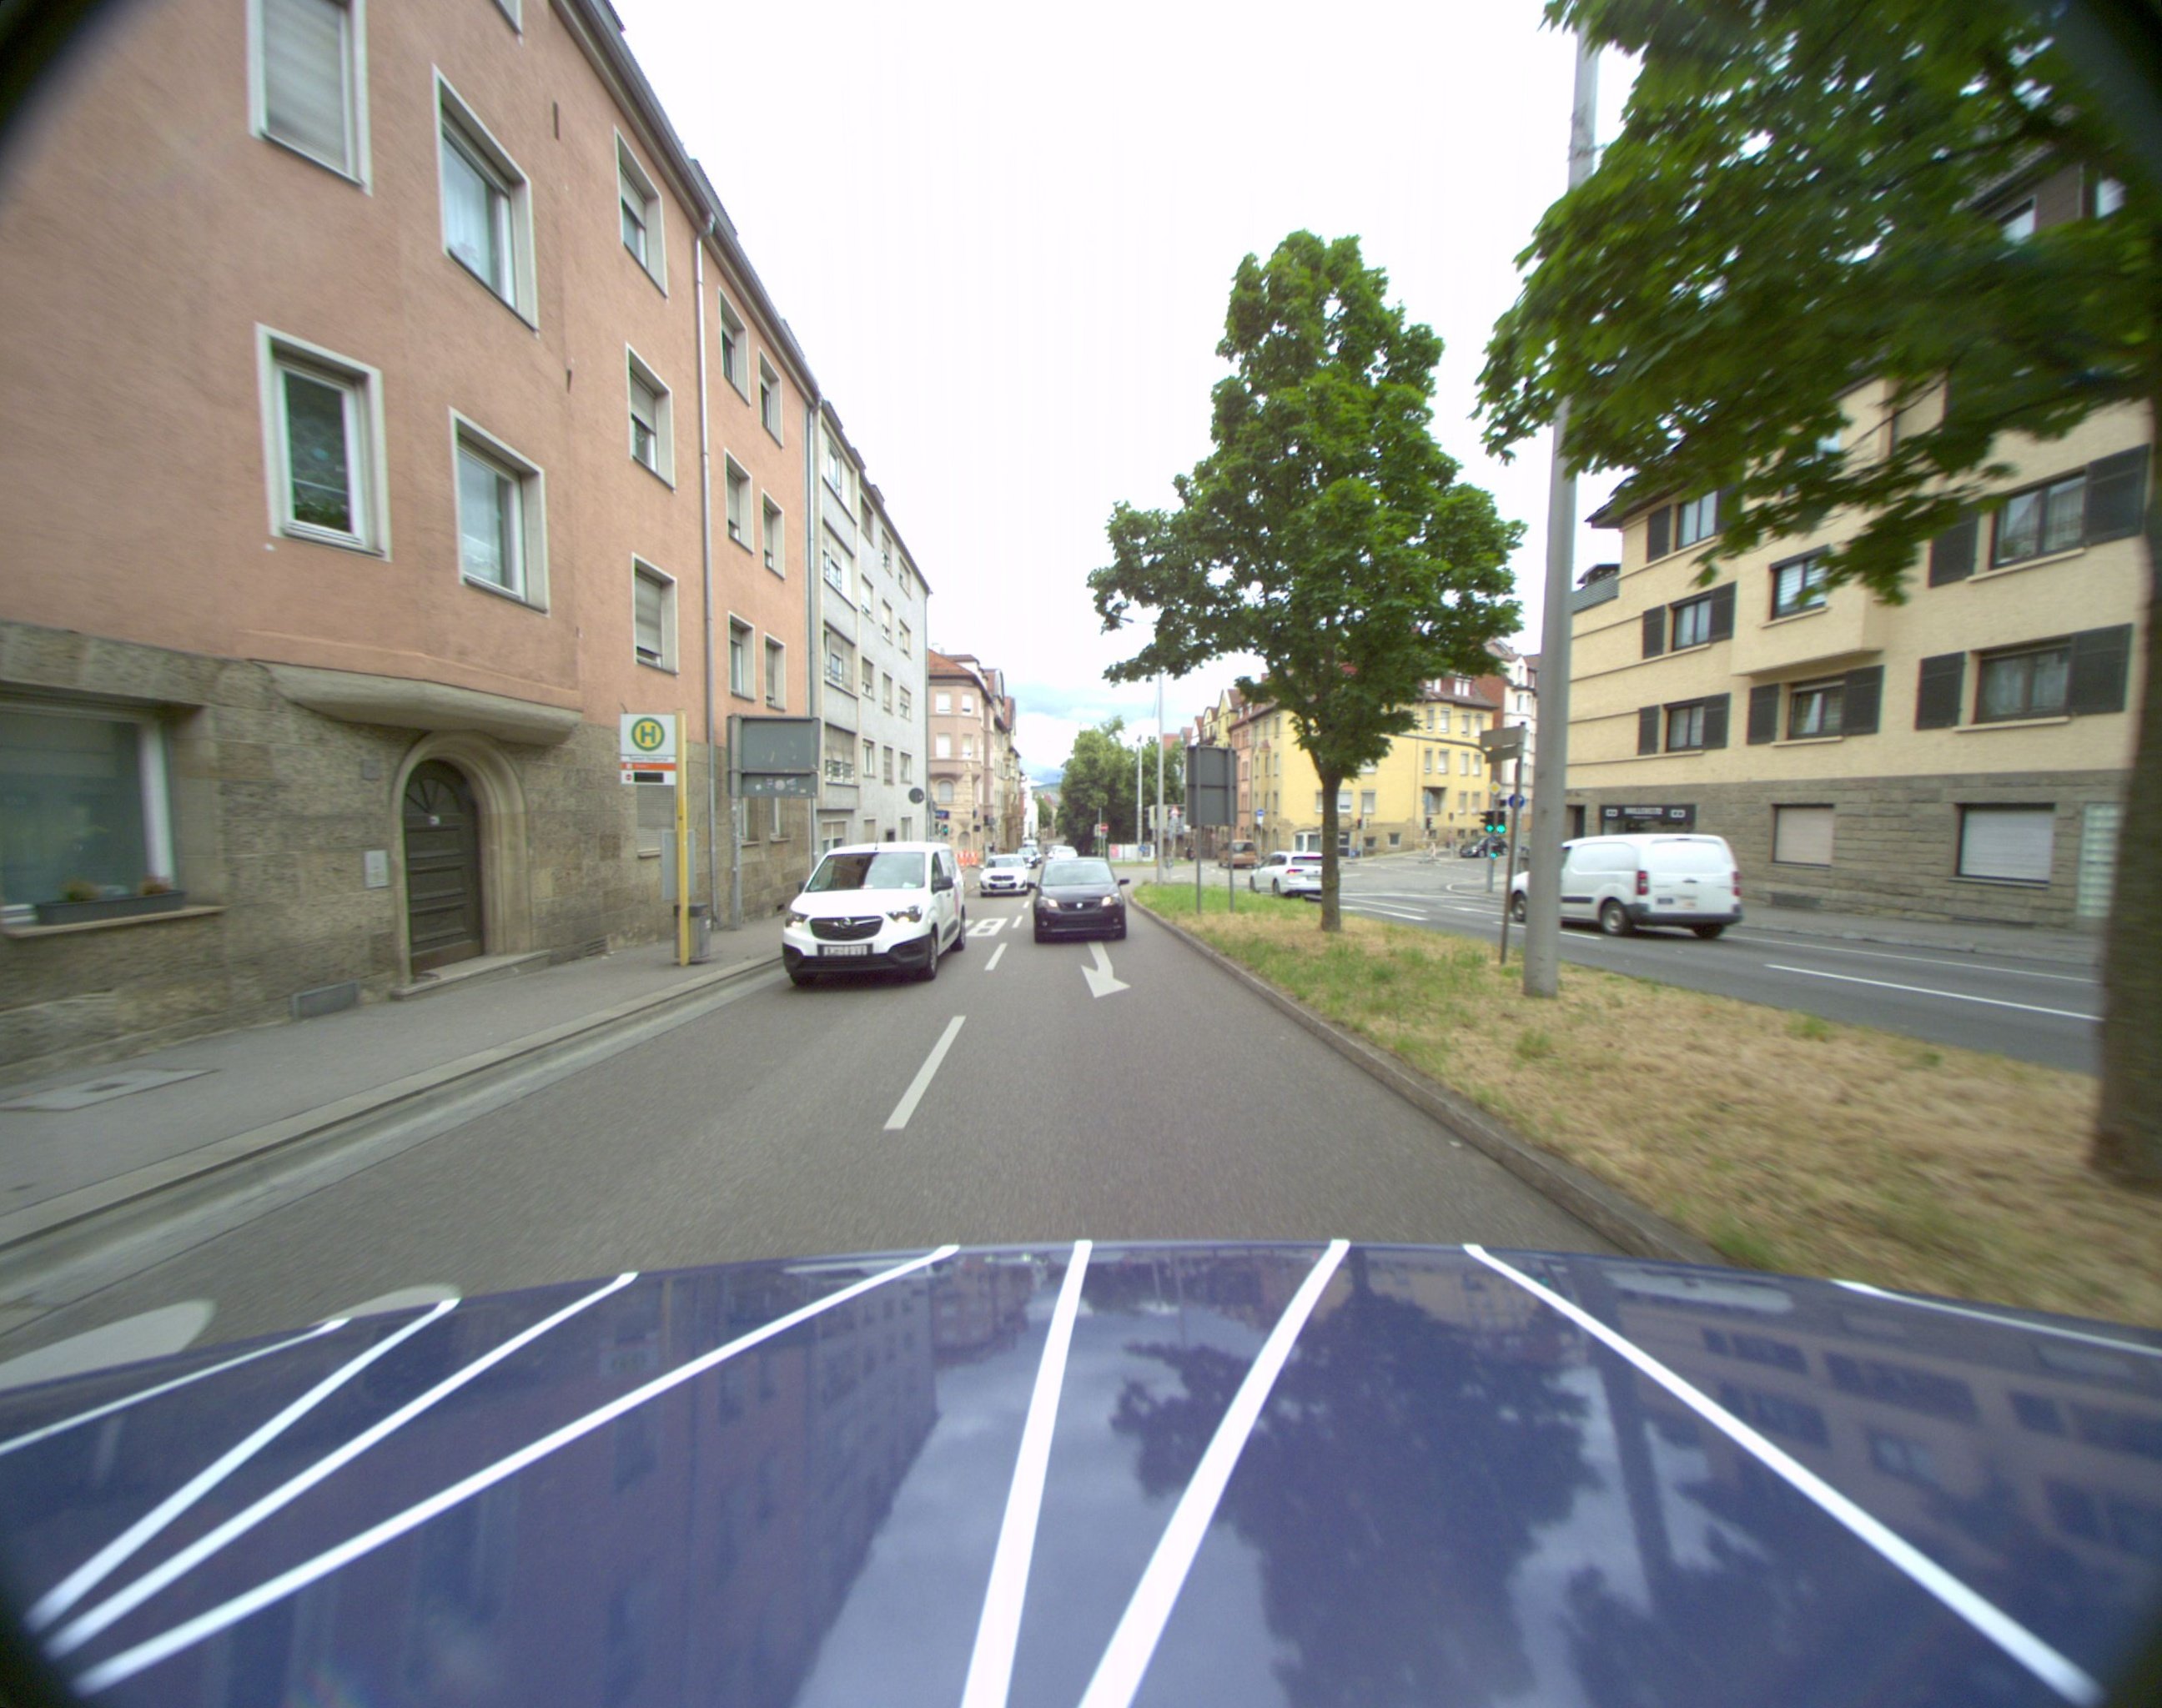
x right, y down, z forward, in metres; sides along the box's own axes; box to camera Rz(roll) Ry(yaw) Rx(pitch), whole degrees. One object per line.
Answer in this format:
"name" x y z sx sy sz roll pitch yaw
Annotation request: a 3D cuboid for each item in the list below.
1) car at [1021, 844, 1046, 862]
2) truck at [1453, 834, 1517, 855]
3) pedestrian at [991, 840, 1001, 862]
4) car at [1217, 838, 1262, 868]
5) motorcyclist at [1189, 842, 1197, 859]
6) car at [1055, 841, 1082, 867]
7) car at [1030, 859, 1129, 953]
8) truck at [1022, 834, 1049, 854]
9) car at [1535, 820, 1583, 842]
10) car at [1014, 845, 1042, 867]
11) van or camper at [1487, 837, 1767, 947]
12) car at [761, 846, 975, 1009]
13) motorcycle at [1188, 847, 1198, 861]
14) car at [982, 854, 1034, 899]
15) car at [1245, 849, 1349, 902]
"car" -4.084 -0.149 65.946 1.842 1.477 3.999 1 1 0
"truck" 28.408 -0.680 53.435 4.004 1.410 1.849 -1 1 -23
"pedestrian" -6.477 -0.250 57.949 0.735 1.638 1.004 -1 1 -3
"car" 10.061 -0.043 48.557 1.884 1.805 4.351 -1 -1 -1
"motorcyclist" 10.109 -0.335 68.669 0.674 1.467 0.662 0 2 0
"car" -0.937 -0.025 54.586 1.784 1.584 3.531 2 2 -3
"car" -0.093 0.880 14.511 1.604 1.449 3.683 -2 1 -2
"truck" -6.976 -1.573 117.724 2.551 2.891 7.781 1 1 8
"car" 38.577 -1.860 61.321 3.862 1.711 1.858 -1 1 -34
"car" -3.636 0.119 52.594 1.780 1.434 4.162 -3 1 -2
"van or camper" 9.941 0.573 14.430 1.913 1.751 4.653 0 1 -1
"car" -2.761 0.816 11.072 1.789 1.779 4.842 -2 1 -1
"motorcycle" 10.091 -0.011 68.522 0.546 1.178 2.204 0 2 0
"car" -2.856 0.837 30.566 1.780 1.598 4.162 -3 1 -2
"car" 6.542 0.598 23.569 1.750 1.459 4.584 0 1 -2
